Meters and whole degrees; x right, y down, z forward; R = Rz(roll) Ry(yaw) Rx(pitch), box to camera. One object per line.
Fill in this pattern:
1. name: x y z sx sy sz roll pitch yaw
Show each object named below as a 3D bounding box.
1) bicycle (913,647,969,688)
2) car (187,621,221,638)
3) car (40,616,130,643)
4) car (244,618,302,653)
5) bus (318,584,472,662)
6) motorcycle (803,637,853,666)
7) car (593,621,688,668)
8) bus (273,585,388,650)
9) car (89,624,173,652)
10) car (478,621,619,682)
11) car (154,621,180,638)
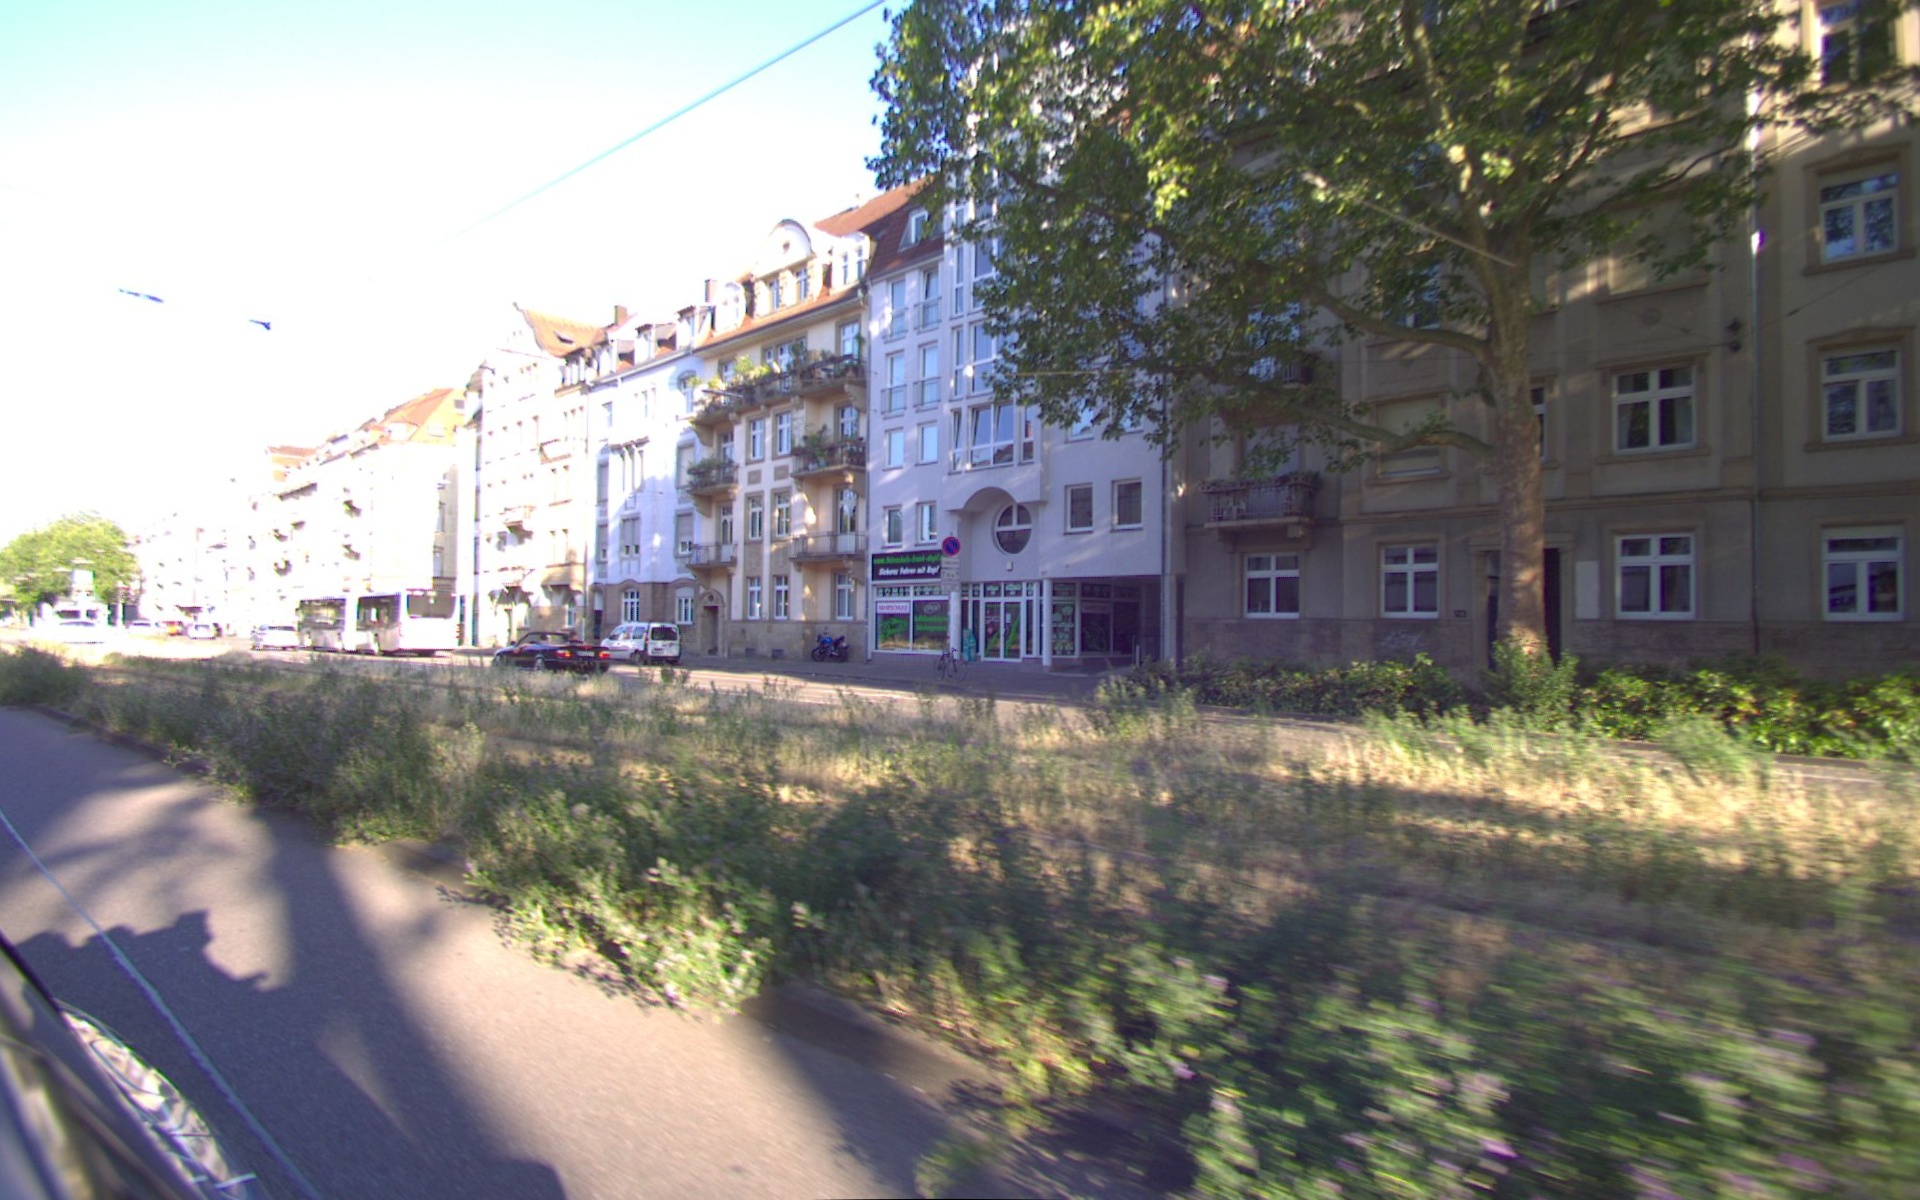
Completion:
1. bicycle: -0.584 1.997 30.259 0.747 1.040 1.900 -5 2 -32
2. car: -66.325 2.606 88.829 1.707 1.491 3.827 2 -2 -27
3. car: -52.411 1.795 60.703 3.992 1.537 1.785 2 -1 -40
4. car: -36.275 1.855 53.382 1.907 1.697 4.004 2 -1 -43
5. bus: -27.756 1.044 49.294 11.982 3.399 3.218 0 -2 44
6. motorcycle: -5.190 2.002 39.576 2.420 1.029 0.522 -1 0 43
7. car: -13.521 1.832 42.655 1.882 1.800 4.657 2 -2 -44
8. bus: -35.601 0.938 57.000 9.904 3.399 3.228 0 -2 45
9. car: -52.947 2.433 64.679 1.836 1.719 3.943 0 -2 43
10. car: -11.217 1.366 27.411 4.700 1.497 1.697 -1 -5 44
11. car: -90.902 3.367 115.991 1.892 1.914 4.312 2 -2 -44
